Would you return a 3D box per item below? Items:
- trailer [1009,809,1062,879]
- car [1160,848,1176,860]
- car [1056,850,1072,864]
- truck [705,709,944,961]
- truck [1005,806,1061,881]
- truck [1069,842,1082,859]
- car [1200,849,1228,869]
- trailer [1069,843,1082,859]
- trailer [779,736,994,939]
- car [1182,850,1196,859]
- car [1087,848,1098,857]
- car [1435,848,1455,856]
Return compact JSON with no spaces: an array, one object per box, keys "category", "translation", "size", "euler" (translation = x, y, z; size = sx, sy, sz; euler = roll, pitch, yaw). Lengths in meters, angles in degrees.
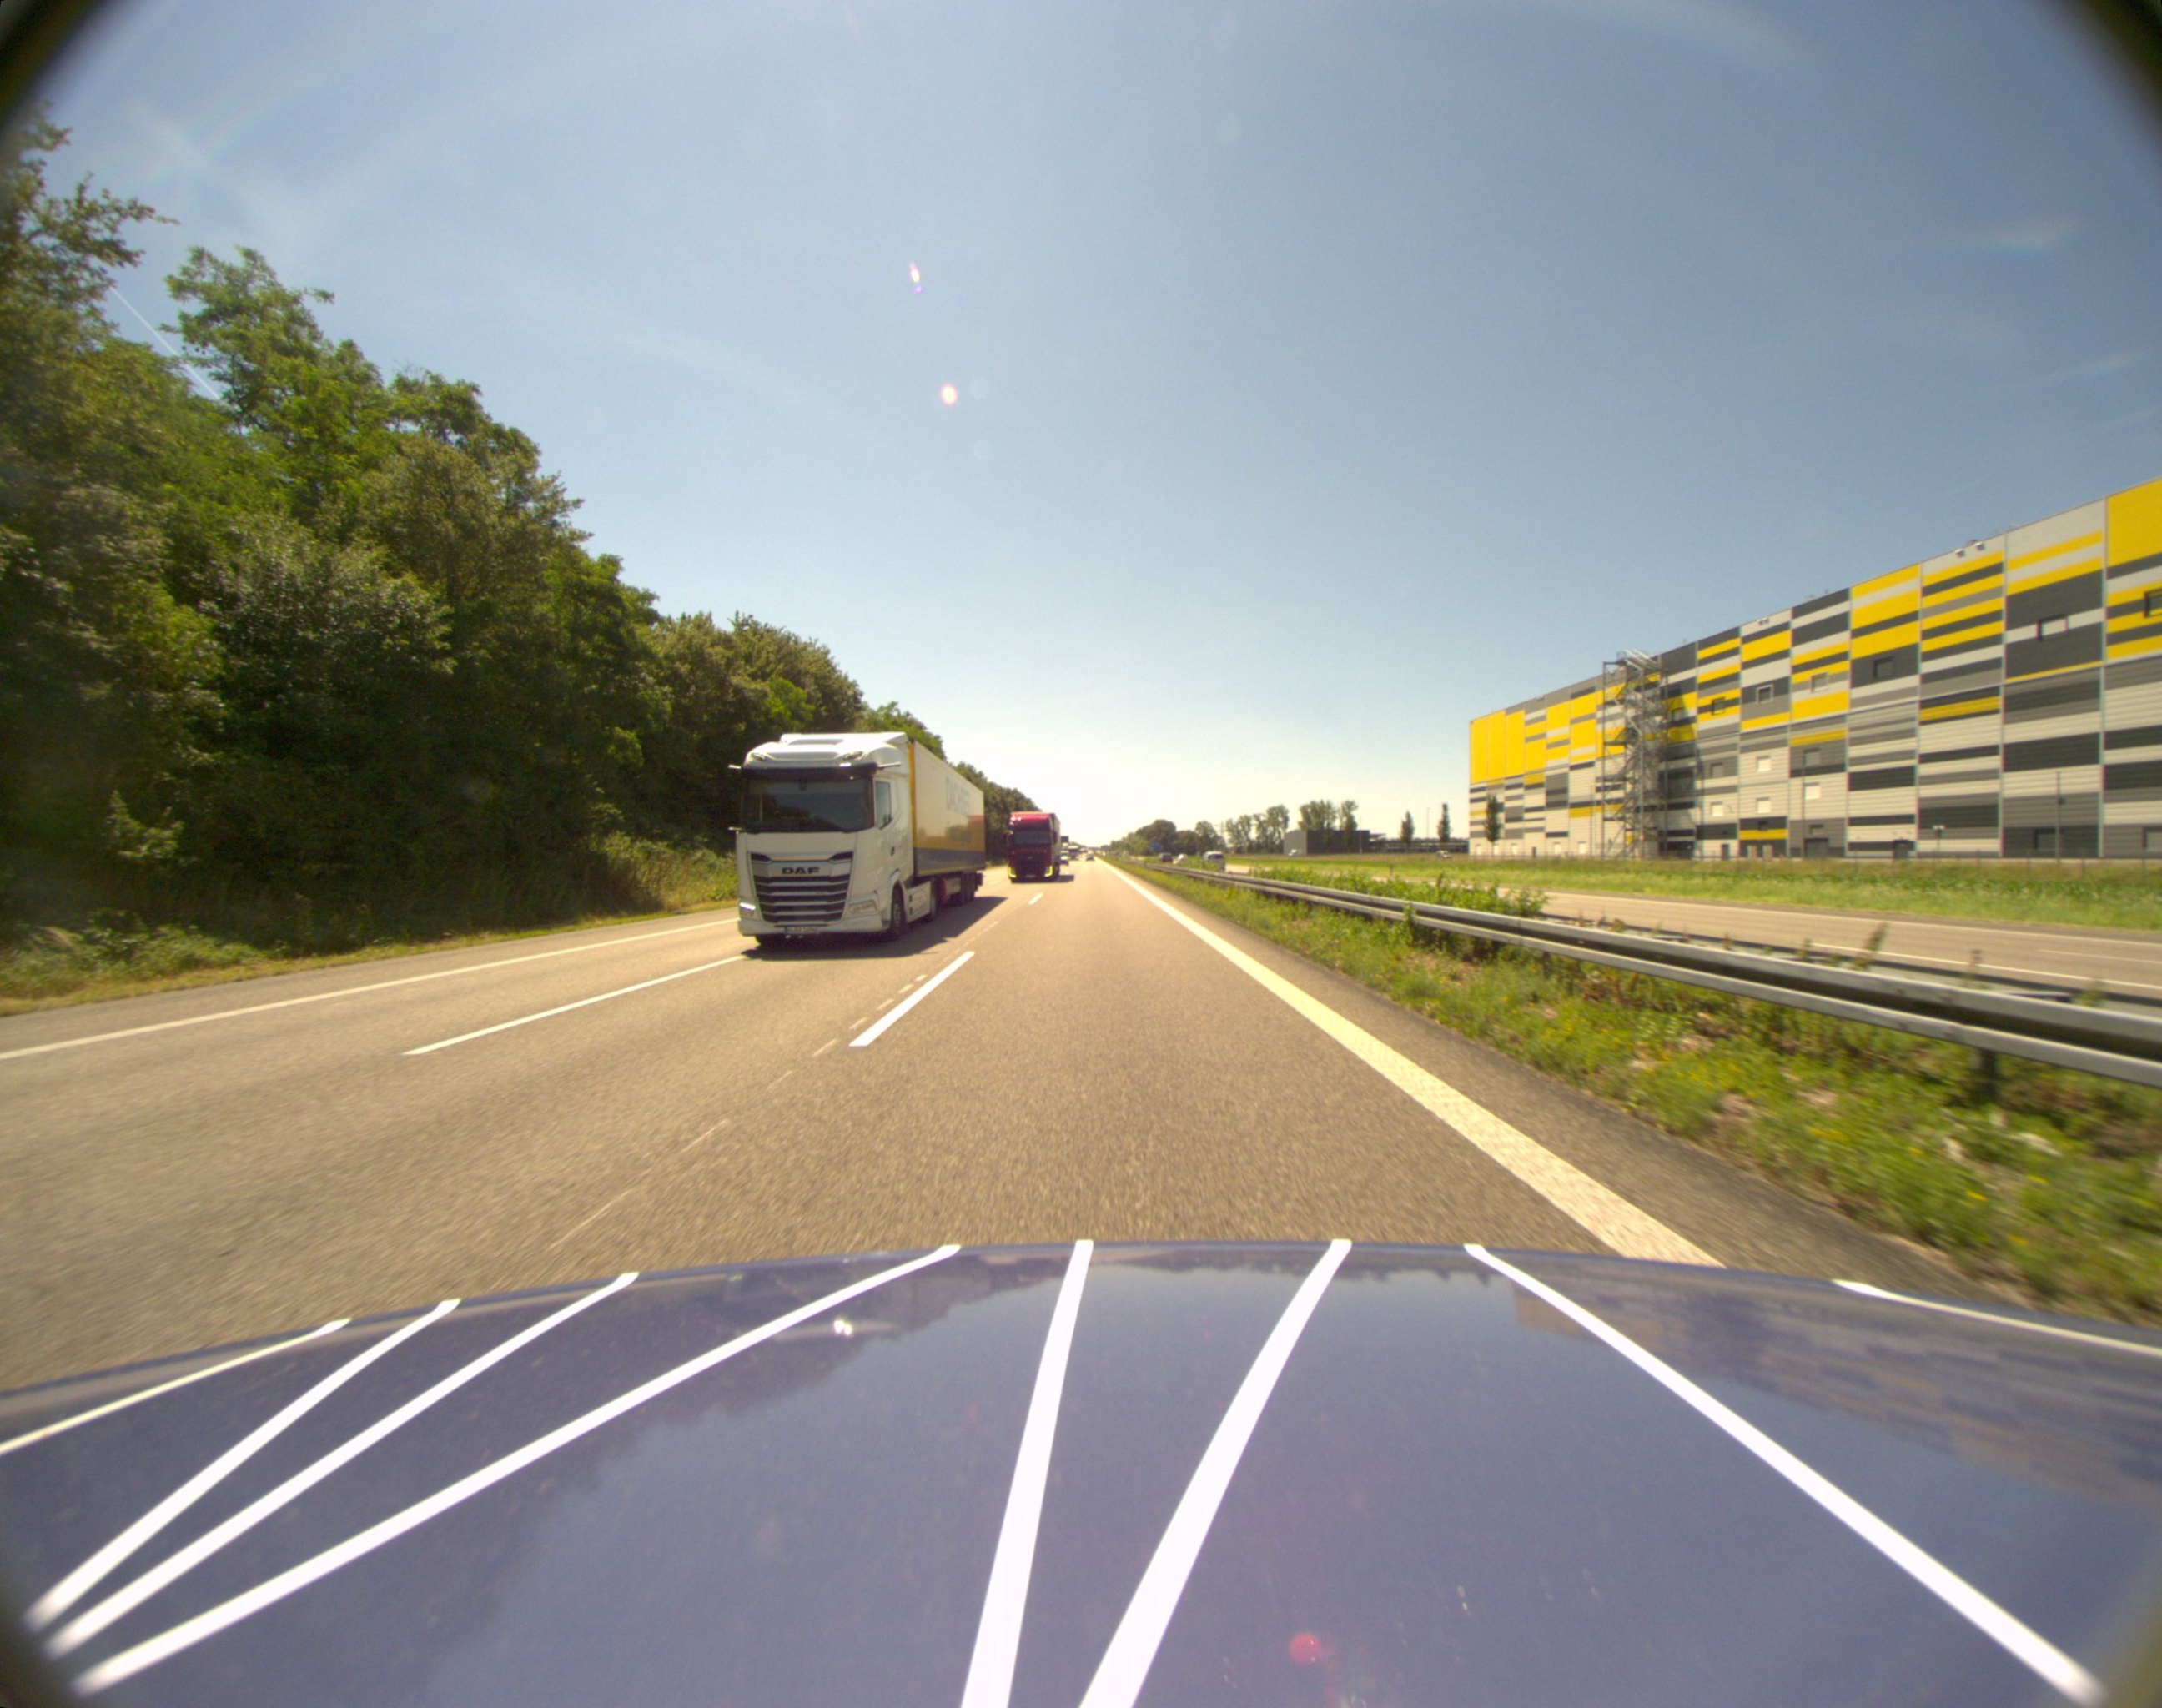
[{"category":"trailer","translation":[-2.847,-0.620,51.326],"size":[2.885,4.046,13.832],"euler":[-2,0,-1]},{"category":"car","translation":[11.203,0.013,98.248],"size":[1.661,1.573,4.334],"euler":[1,0,1]},{"category":"car","translation":[-2.336,0.386,103.932],"size":[2.073,1.823,5.109],"euler":[0,0,-1]},{"category":"truck","translation":[-4.727,-0.319,15.459],"size":[2.684,4.046,6.048],"euler":[-2,0,0]},{"category":"truck","translation":[-2.714,-0.594,44.600],"size":[2.870,4.046,5.770],"euler":[-2,0,-1]},{"category":"truck","translation":[-1.280,-0.775,187.008],"size":[2.999,4.046,5.770],"euler":[-2,0,0]},{"category":"car","translation":[11.090,0.405,63.693],"size":[1.661,1.573,4.334],"euler":[1,0,1]},{"category":"trailer","translation":[-1.341,-0.798,194.298],"size":[3.005,4.046,13.834],"euler":[-2,0,0]},{"category":"trailer","translation":[-4.754,-0.368,22.405],"size":[2.684,4.046,13.834],"euler":[-2,0,0]},{"category":"car","translation":[19.837,0.073,139.518],"size":[1.804,1.523,4.631],"euler":[0,0,0]},{"category":"car","translation":[2.373,-0.293,155.267],"size":[2.073,1.959,5.109],"euler":[0,0,-1]},{"category":"car","translation":[72.018,-0.412,150.312],"size":[1.832,1.726,4.269],"euler":[0,0,0]}]
